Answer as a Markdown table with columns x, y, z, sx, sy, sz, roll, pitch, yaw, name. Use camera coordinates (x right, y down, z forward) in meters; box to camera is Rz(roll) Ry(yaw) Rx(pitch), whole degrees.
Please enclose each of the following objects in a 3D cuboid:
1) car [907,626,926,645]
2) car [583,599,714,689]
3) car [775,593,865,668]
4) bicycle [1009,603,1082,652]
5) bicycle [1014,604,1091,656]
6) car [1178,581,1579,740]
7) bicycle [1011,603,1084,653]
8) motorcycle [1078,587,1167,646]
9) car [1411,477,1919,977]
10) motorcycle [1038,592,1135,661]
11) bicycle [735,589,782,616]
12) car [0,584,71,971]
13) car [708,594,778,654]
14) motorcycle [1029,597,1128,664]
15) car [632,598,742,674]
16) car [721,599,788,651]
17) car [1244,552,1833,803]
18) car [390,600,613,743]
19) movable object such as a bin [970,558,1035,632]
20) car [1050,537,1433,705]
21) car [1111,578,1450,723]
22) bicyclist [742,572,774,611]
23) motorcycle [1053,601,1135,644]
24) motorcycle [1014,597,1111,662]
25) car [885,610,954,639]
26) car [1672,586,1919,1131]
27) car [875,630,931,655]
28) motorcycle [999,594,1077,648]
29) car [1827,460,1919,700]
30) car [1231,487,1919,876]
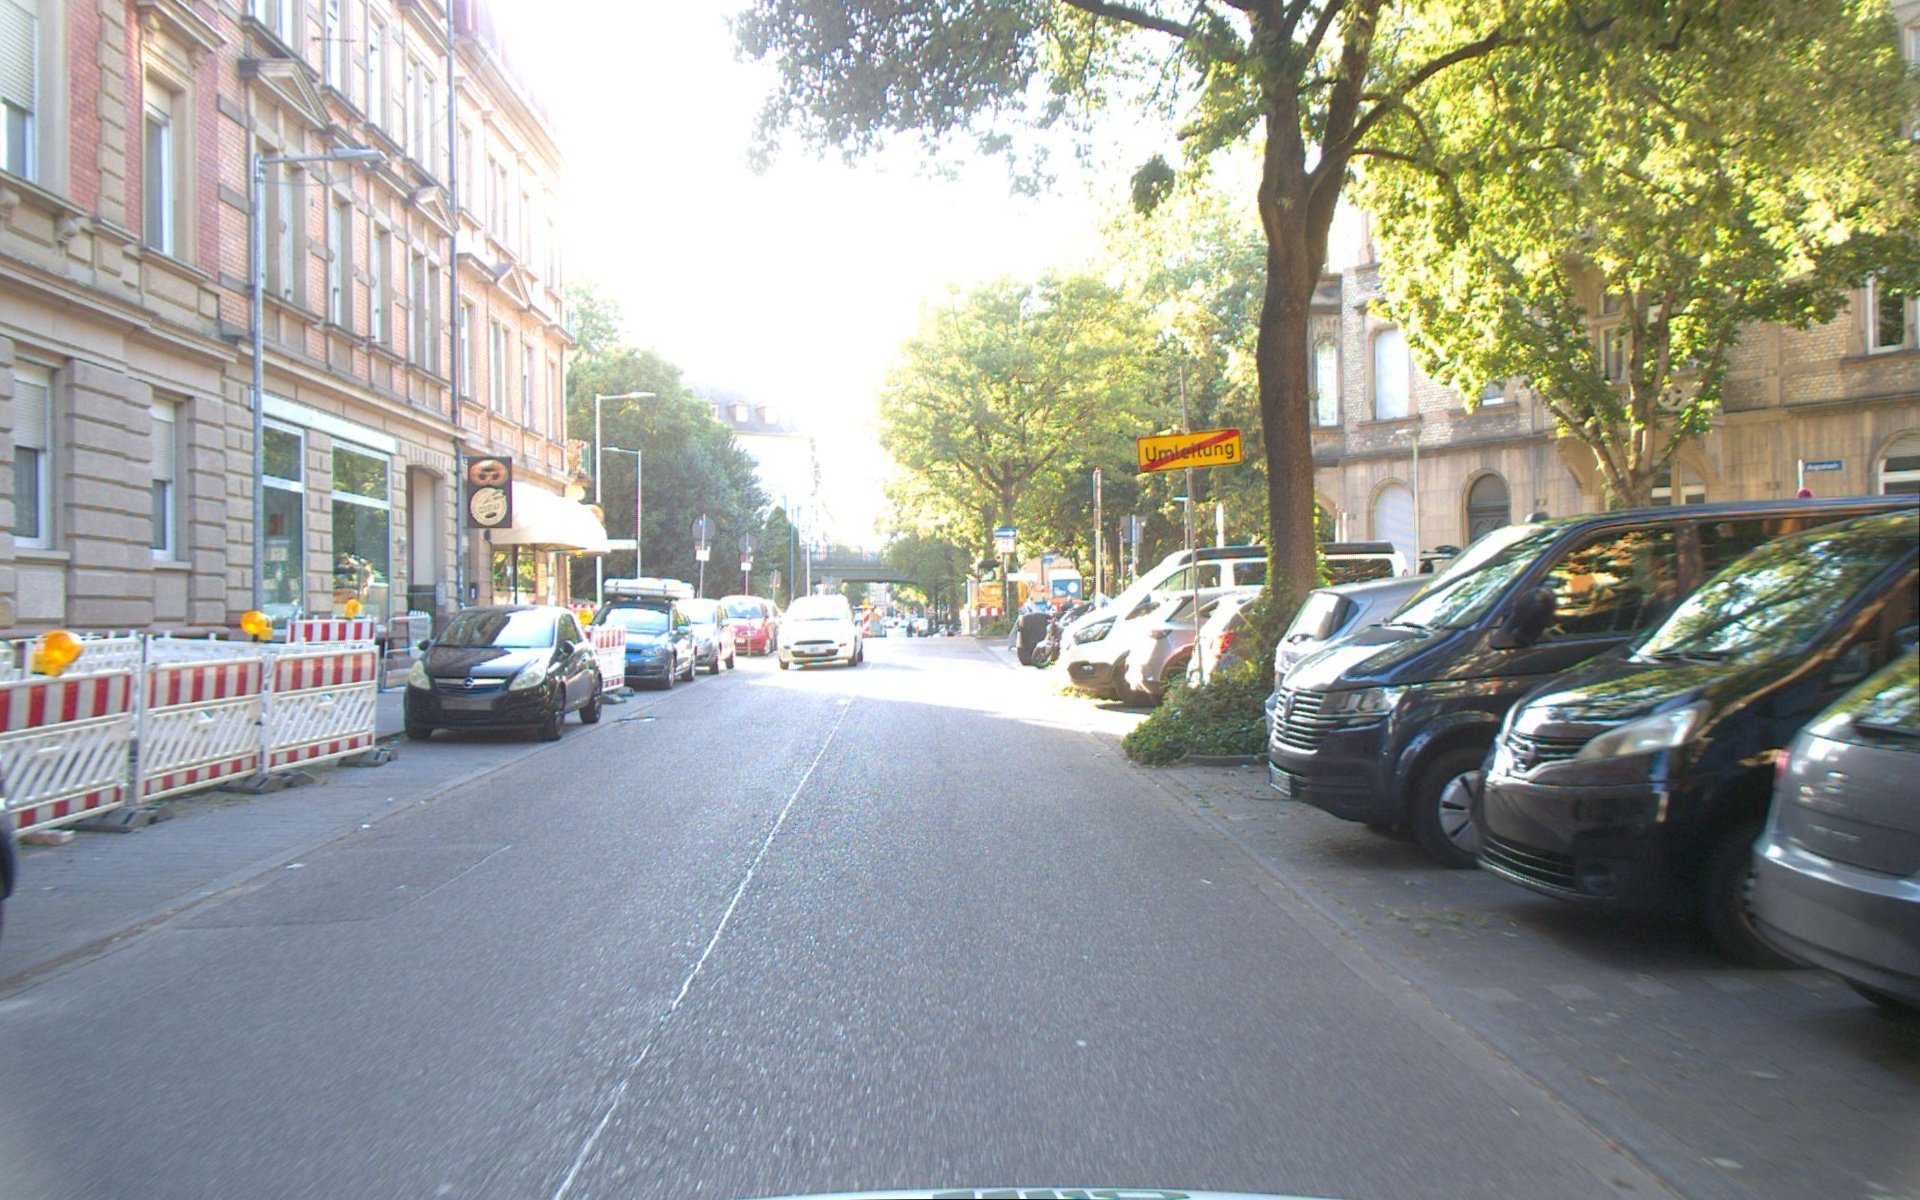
| x | y | z | sx | sy | sz | roll | pitch | yaw | name |
| --- | --- | --- | --- | --- | --- | --- | --- | --- | --- |
| -3.967 | 3.217 | 151.039 | 1.739 | 1.637 | 4.400 | -1 | 0 | -2 | car |
| -5.514 | 0.734 | 29.700 | 1.729 | 1.462 | 4.298 | -1 | 0 | -3 | car |
| -3.016 | 0.624 | 36.272 | 1.714 | 1.535 | 3.999 | -1 | 0 | -2 | car |
| 2.239 | 0.720 | 43.384 | 1.888 | 1.268 | 0.302 | 0 | 0 | -8 | bicycle |
| 2.293 | 0.734 | 41.047 | 1.888 | 1.268 | 0.302 | 0 | 0 | -8 | bicycle |
| 4.353 | 0.602 | 17.614 | 3.763 | 1.542 | 1.847 | -1 | 0 | -2 | car |
| 2.277 | 0.721 | 43.060 | 1.888 | 1.268 | 0.302 | 0 | 0 | -8 | bicycle |
| 4.349 | 0.434 | 44.319 | 2.240 | 1.558 | 0.754 | 0 | -1 | -8 | motorcycle |
| 4.449 | 0.456 | 7.562 | 4.185 | 1.918 | 1.937 | -1 | 0 | -5 | car |
| 2.688 | 0.561 | 35.266 | 1.982 | 1.386 | 0.694 | -2 | 0 | -2 | motorcycle |
| -7.419 | 0.096 | 60.706 | 0.797 | 0.985 | 2.081 | 0 | 0 | -37 | bicycle |
| -4.800 | 0.755 | 5.408 | 1.706 | 1.594 | 3.894 | -1 | 0 | -1 | car |
| -5.906 | 0.640 | 45.241 | 1.636 | 1.557 | 3.997 | 0 | 0 | -4 | car |
| 2.458 | 0.621 | 34.329 | 1.975 | 1.350 | 0.620 | -1 | 0 | -6 | motorcycle |
| -5.700 | 0.714 | 34.913 | 1.690 | 1.462 | 3.995 | 1 | 0 | -1 | car |
| -6.142 | 0.716 | 49.686 | 1.636 | 1.483 | 3.998 | 0 | 0 | -2 | car |
| 4.347 | 0.544 | 12.821 | 3.908 | 1.722 | 1.799 | -1 | 0 | -3 | car |
| -5.276 | 0.756 | 19.531 | 1.669 | 1.479 | 4.018 | -1 | 0 | -3 | car |
| 1.665 | -0.168 | 63.115 | 1.951 | 2.747 | 3.113 | -1 | -1 | 11 | movable object such as a bin |
| 3.769 | 0.271 | 22.825 | 4.873 | 2.132 | 2.105 | -1 | 0 | -2 | car |
| 3.829 | 0.587 | 20.175 | 3.763 | 1.623 | 1.740 | -1 | 0 | -2 | car |
| -7.405 | -0.309 | 60.705 | 0.797 | 1.407 | 0.972 | 1 | 0 | -37 | bicyclist |
| 3.831 | 0.647 | 47.114 | 2.234 | 1.200 | 0.972 | -1 | -1 | 11 | motorcycle |
| 2.235 | 0.642 | 36.229 | 1.983 | 1.307 | 0.903 | -3 | 0 | -3 | motorcycle |
| -2.619 | 1.597 | 106.221 | 4.301 | 1.732 | 1.915 | 1 | -3 | -4 | car |
| 4.593 | 0.670 | 5.196 | 3.904 | 1.473 | 1.891 | -1 | 0 | 3 | car |
| -4.516 | 3.347 | 130.147 | 4.301 | 1.816 | 1.915 | 1 | -3 | -4 | car |
| 2.110 | 0.565 | 44.878 | 1.894 | 1.437 | 0.940 | 0 | 0 | 26 | motorcycle |
| 13.148 | -0.247 | 18.522 | 5.783 | 2.582 | 2.376 | -1 | 0 | -8 | car |
| 4.120 | 0.415 | 10.083 | 4.524 | 2.049 | 1.998 | -1 | 0 | -4 | car |
